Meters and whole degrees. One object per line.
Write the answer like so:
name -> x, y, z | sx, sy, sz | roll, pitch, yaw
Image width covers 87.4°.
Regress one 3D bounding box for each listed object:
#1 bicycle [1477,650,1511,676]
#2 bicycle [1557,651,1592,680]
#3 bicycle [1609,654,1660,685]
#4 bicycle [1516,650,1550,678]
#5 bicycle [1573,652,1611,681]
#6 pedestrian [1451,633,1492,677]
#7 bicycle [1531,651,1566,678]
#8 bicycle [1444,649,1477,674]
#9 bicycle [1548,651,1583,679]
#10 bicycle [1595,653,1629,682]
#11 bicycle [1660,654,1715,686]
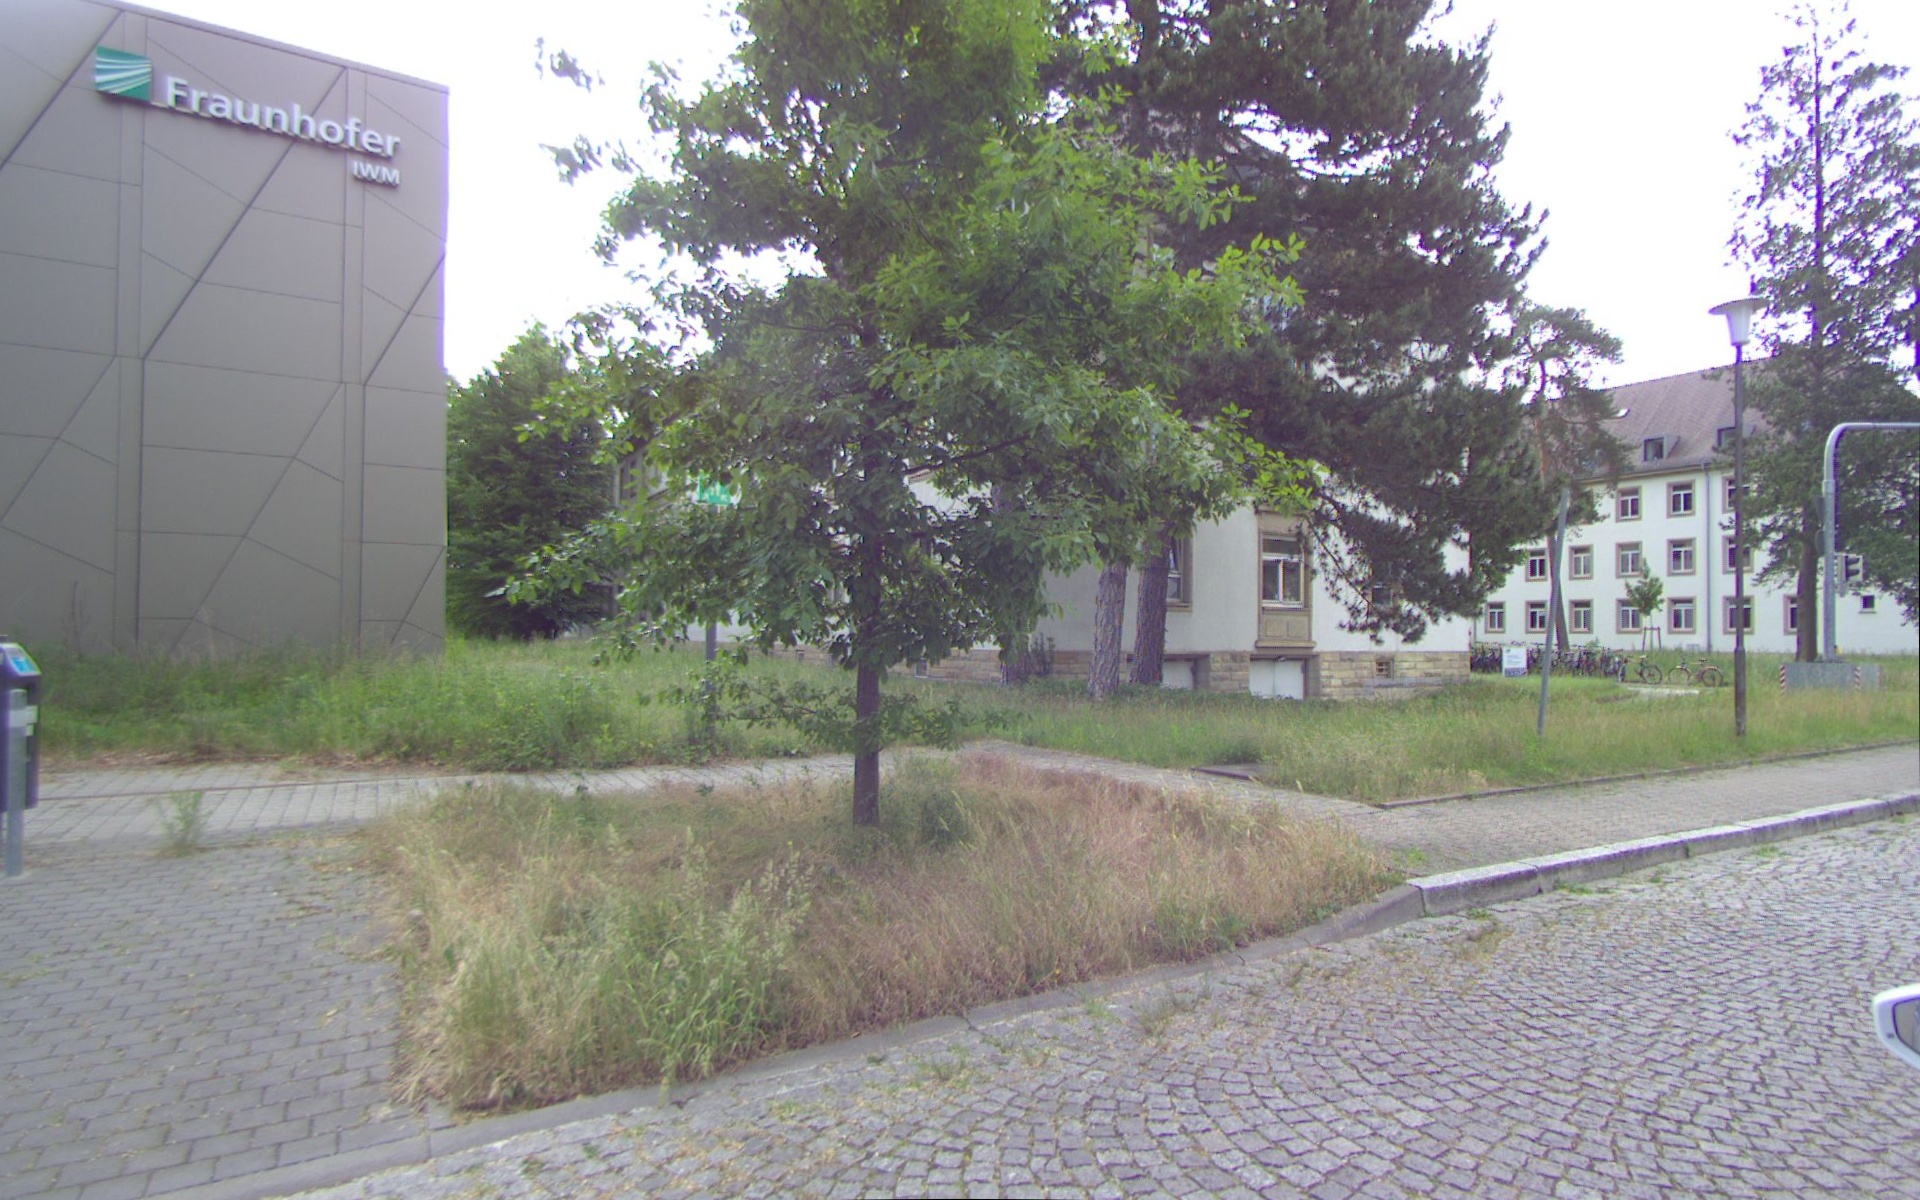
bicycle -> 22.474, 2.653, 42.262 | 1.567, 1.093, 0.512 | 2, -3, -31
bicycle -> 24.173, 2.575, 39.503 | 1.567, 1.093, 0.512 | 2, -3, -31
bicycle -> 24.414, 2.502, 36.370 | 0.510, 1.093, 1.457 | 2, -3, -32
bicycle -> 23.308, 2.605, 40.862 | 1.567, 1.093, 0.512 | 2, -3, -31
bicycle -> 24.449, 2.573, 38.848 | 1.566, 1.093, 0.512 | 2, -3, -28
pedestrian -> 21.626, 2.293, 42.448 | 1.135, 1.812, 1.064 | -1, -1, -3
bicycle -> 23.639, 2.584, 40.336 | 1.567, 1.093, 0.512 | 2, -3, -31
bicycle -> 21.733, 2.659, 43.598 | 1.567, 1.093, 0.512 | 2, -3, -31
bicycle -> 23.996, 2.575, 39.817 | 1.567, 1.093, 0.512 | 2, -3, -31
bicycle -> 24.864, 2.577, 38.310 | 1.569, 1.093, 0.511 | 2, -3, -34
bicycle -> 25.378, 2.434, 35.048 | 0.510, 1.079, 1.457 | 2, -3, -32
